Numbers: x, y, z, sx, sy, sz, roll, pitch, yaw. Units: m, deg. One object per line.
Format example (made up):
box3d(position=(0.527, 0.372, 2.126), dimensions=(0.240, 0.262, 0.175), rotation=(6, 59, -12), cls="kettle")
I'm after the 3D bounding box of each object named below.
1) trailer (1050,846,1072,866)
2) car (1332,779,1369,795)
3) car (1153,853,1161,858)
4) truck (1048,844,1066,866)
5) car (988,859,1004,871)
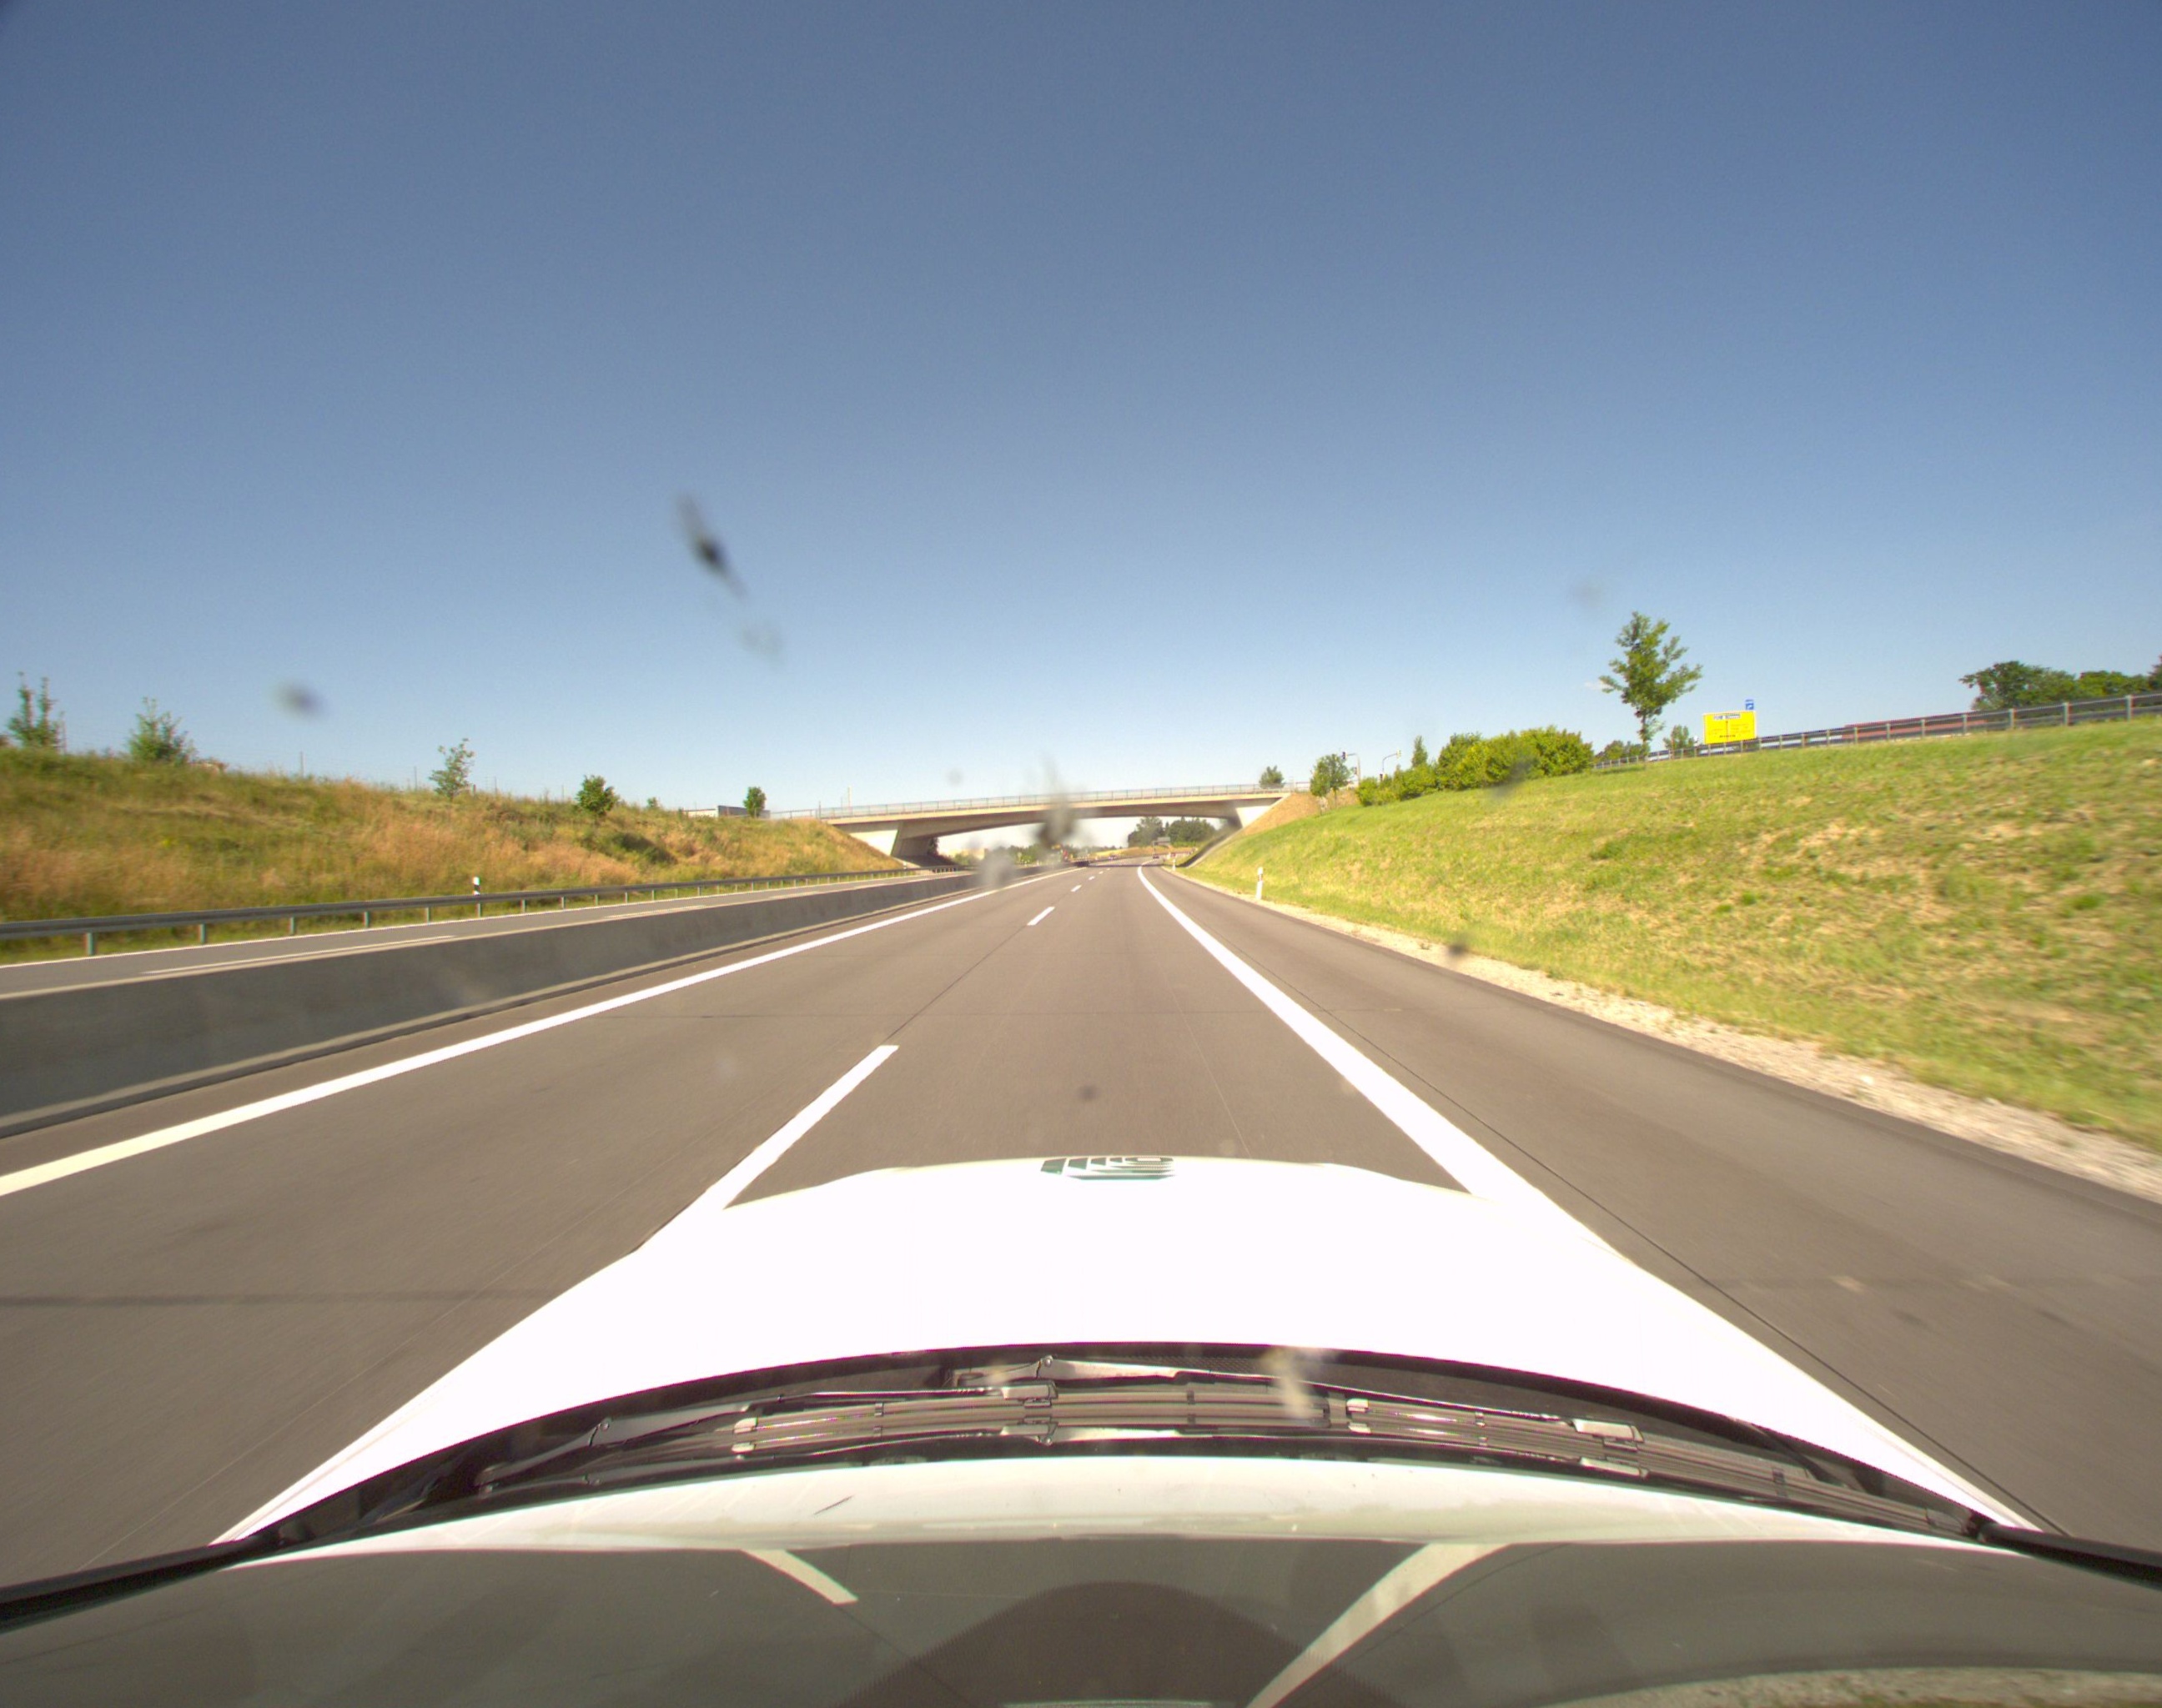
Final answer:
box3d(position=(-3.789, 0.381, 155.916), dimensions=(2.652, 3.657, 13.254), rotation=(-1, 0, 5), cls="trailer")
box3d(position=(35.687, -8.859, 107.790), dimensions=(4.121, 1.881, 1.994), rotation=(-3, 1, -9), cls="car")
box3d(position=(22.990, 0.437, 246.382), dimensions=(1.984, 1.420, 4.005), rotation=(-3, 0, 4), cls="car")
box3d(position=(-4.362, 0.152, 149.260), dimensions=(2.723, 3.832, 5.838), rotation=(-1, 0, 4), cls="truck")
box3d(position=(-11.929, 1.525, 114.483), dimensions=(1.857, 1.531, 4.564), rotation=(-1, 0, -3), cls="car")
